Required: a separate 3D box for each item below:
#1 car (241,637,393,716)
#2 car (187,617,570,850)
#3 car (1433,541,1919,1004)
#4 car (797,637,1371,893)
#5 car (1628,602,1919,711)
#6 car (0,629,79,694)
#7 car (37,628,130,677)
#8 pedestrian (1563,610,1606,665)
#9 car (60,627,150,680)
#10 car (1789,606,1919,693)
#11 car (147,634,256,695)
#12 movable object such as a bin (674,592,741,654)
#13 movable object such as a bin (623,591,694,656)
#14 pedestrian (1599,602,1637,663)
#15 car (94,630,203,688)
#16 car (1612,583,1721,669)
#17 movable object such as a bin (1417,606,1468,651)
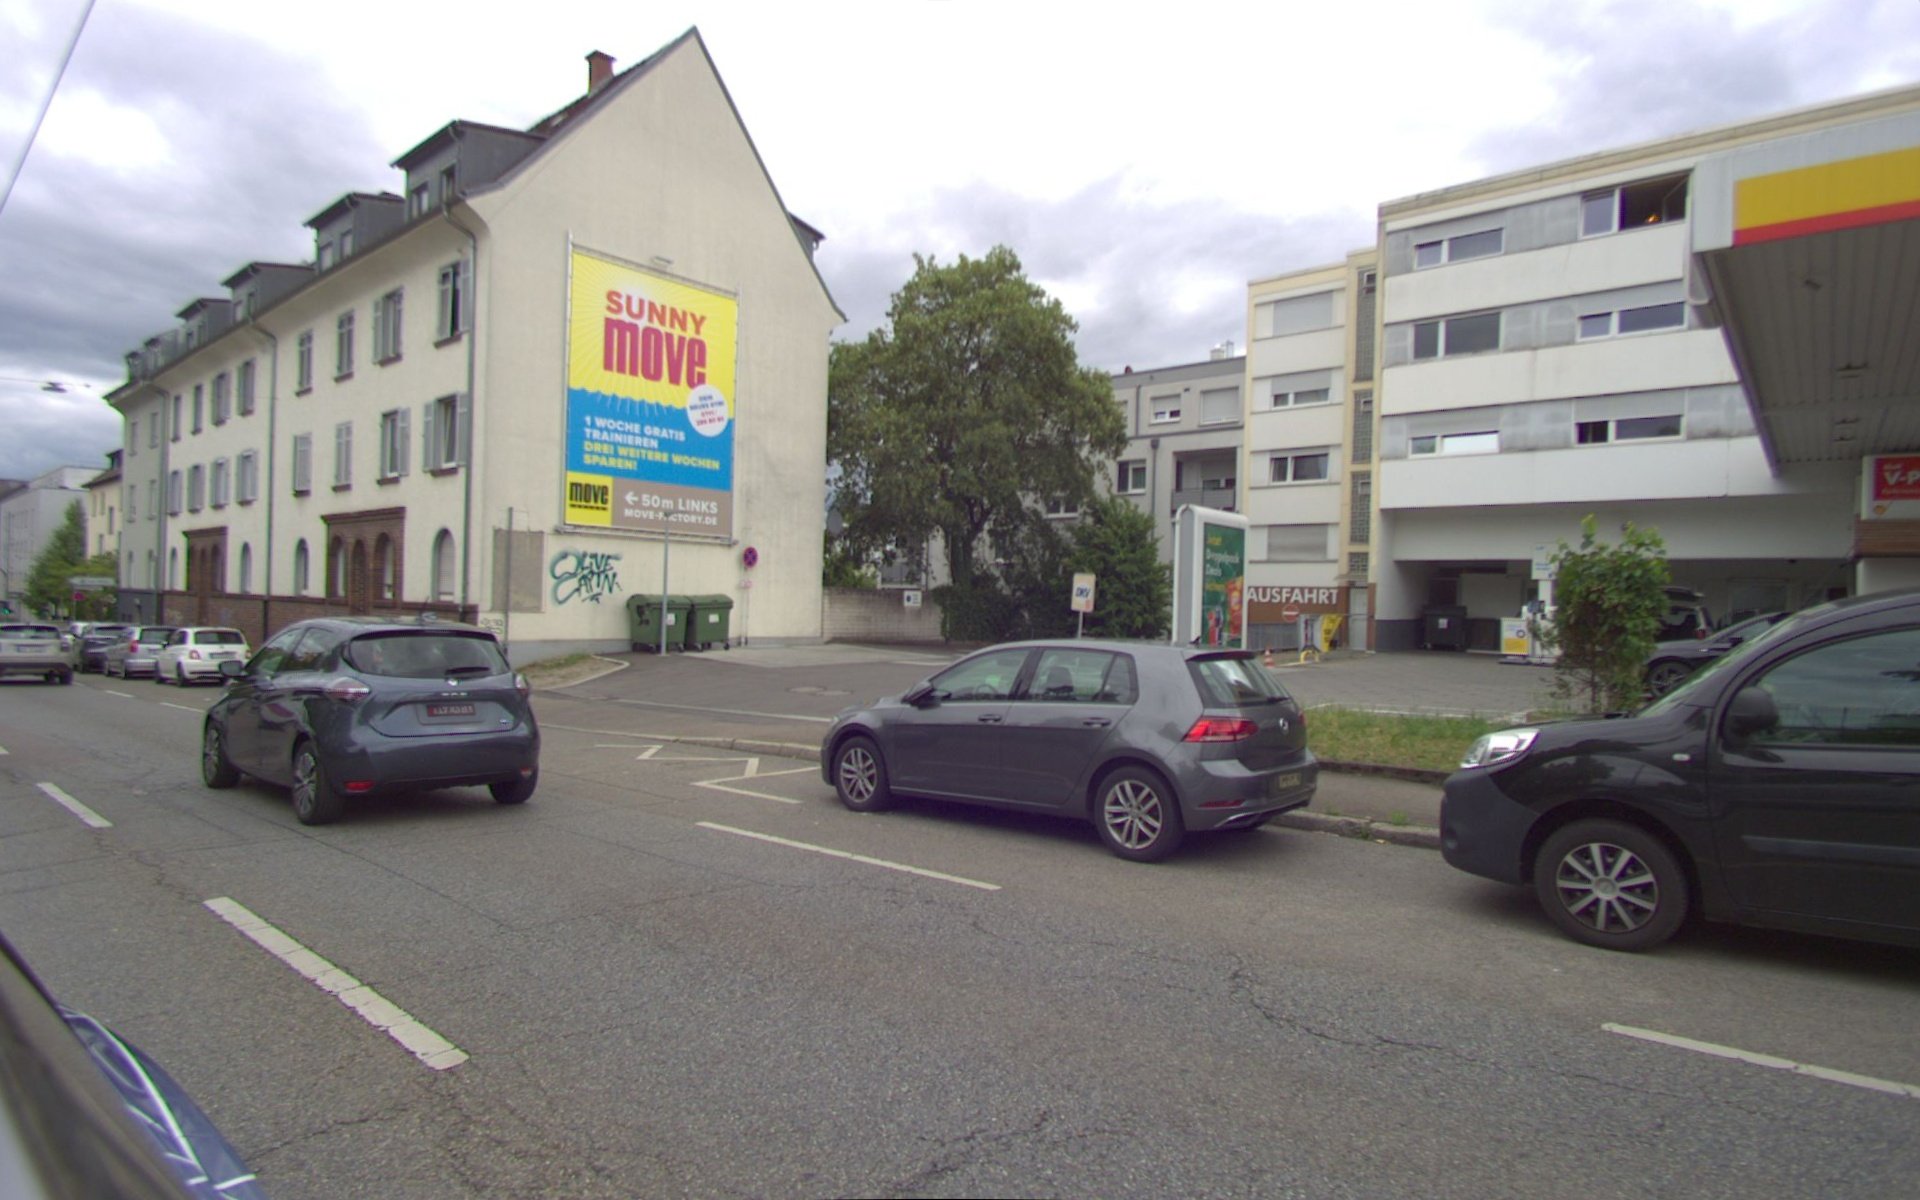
[{"bbox_3d":[-12.893,1.462,20.219,3.663,1.436,1.602,-2,-3,42],"label":"car"},{"bbox_3d":[-5.099,0.969,8.701,3.716,1.567,1.665,-1,-3,40],"label":"car"},{"bbox_3d":[4.834,0.713,4.438,4.697,1.849,1.833,-1,-3,40],"label":"car"},{"bbox_3d":[0.771,1.038,7.943,4.216,1.461,1.772,-2,-3,41],"label":"car"},{"bbox_3d":[12.389,0.759,14.581,4.414,1.431,1.779,-2,-1,41],"label":"car"},{"bbox_3d":[-23.952,1.522,25.736,3.998,1.537,1.779,-2,-3,41],"label":"car"},{"bbox_3d":[-31.648,1.866,36.512,4.640,1.634,1.826,-2,-3,40],"label":"car"},{"bbox_3d":[15.604,0.930,25.295,0.800,1.324,0.656,-2,-1,39],"label":"pedestrian"},{"bbox_3d":[-27.758,1.693,32.798,4.502,1.611,1.708,-2,-3,43],"label":"car"},{"bbox_3d":[16.548,0.827,17.279,3.634,1.431,1.779,-2,-1,41],"label":"car"},{"bbox_3d":[-19.761,1.622,26.328,3.602,1.486,1.531,-2,-3,41],"label":"car"},{"bbox_3d":[-6.497,0.613,26.034,1.104,1.550,1.251,-2,-4,41],"label":"movable object such as a bin"},{"bbox_3d":[-7.439,0.601,24.996,1.104,1.550,1.251,-2,-4,41],"label":"movable object such as a bin"},{"bbox_3d":[16.884,0.833,25.958,0.665,1.528,0.790,-2,-1,43],"label":"pedestrian"},{"bbox_3d":[-23.797,1.714,29.629,4.079,1.570,1.709,-1,-5,41],"label":"car"},{"bbox_3d":[17.657,0.615,25.235,1.835,1.978,3.854,-1,-1,41],"label":"car"},{"bbox_3d":[15.243,0.878,31.970,1.242,1.384,1.139,-1,-1,39],"label":"movable object such as a bin"}]
